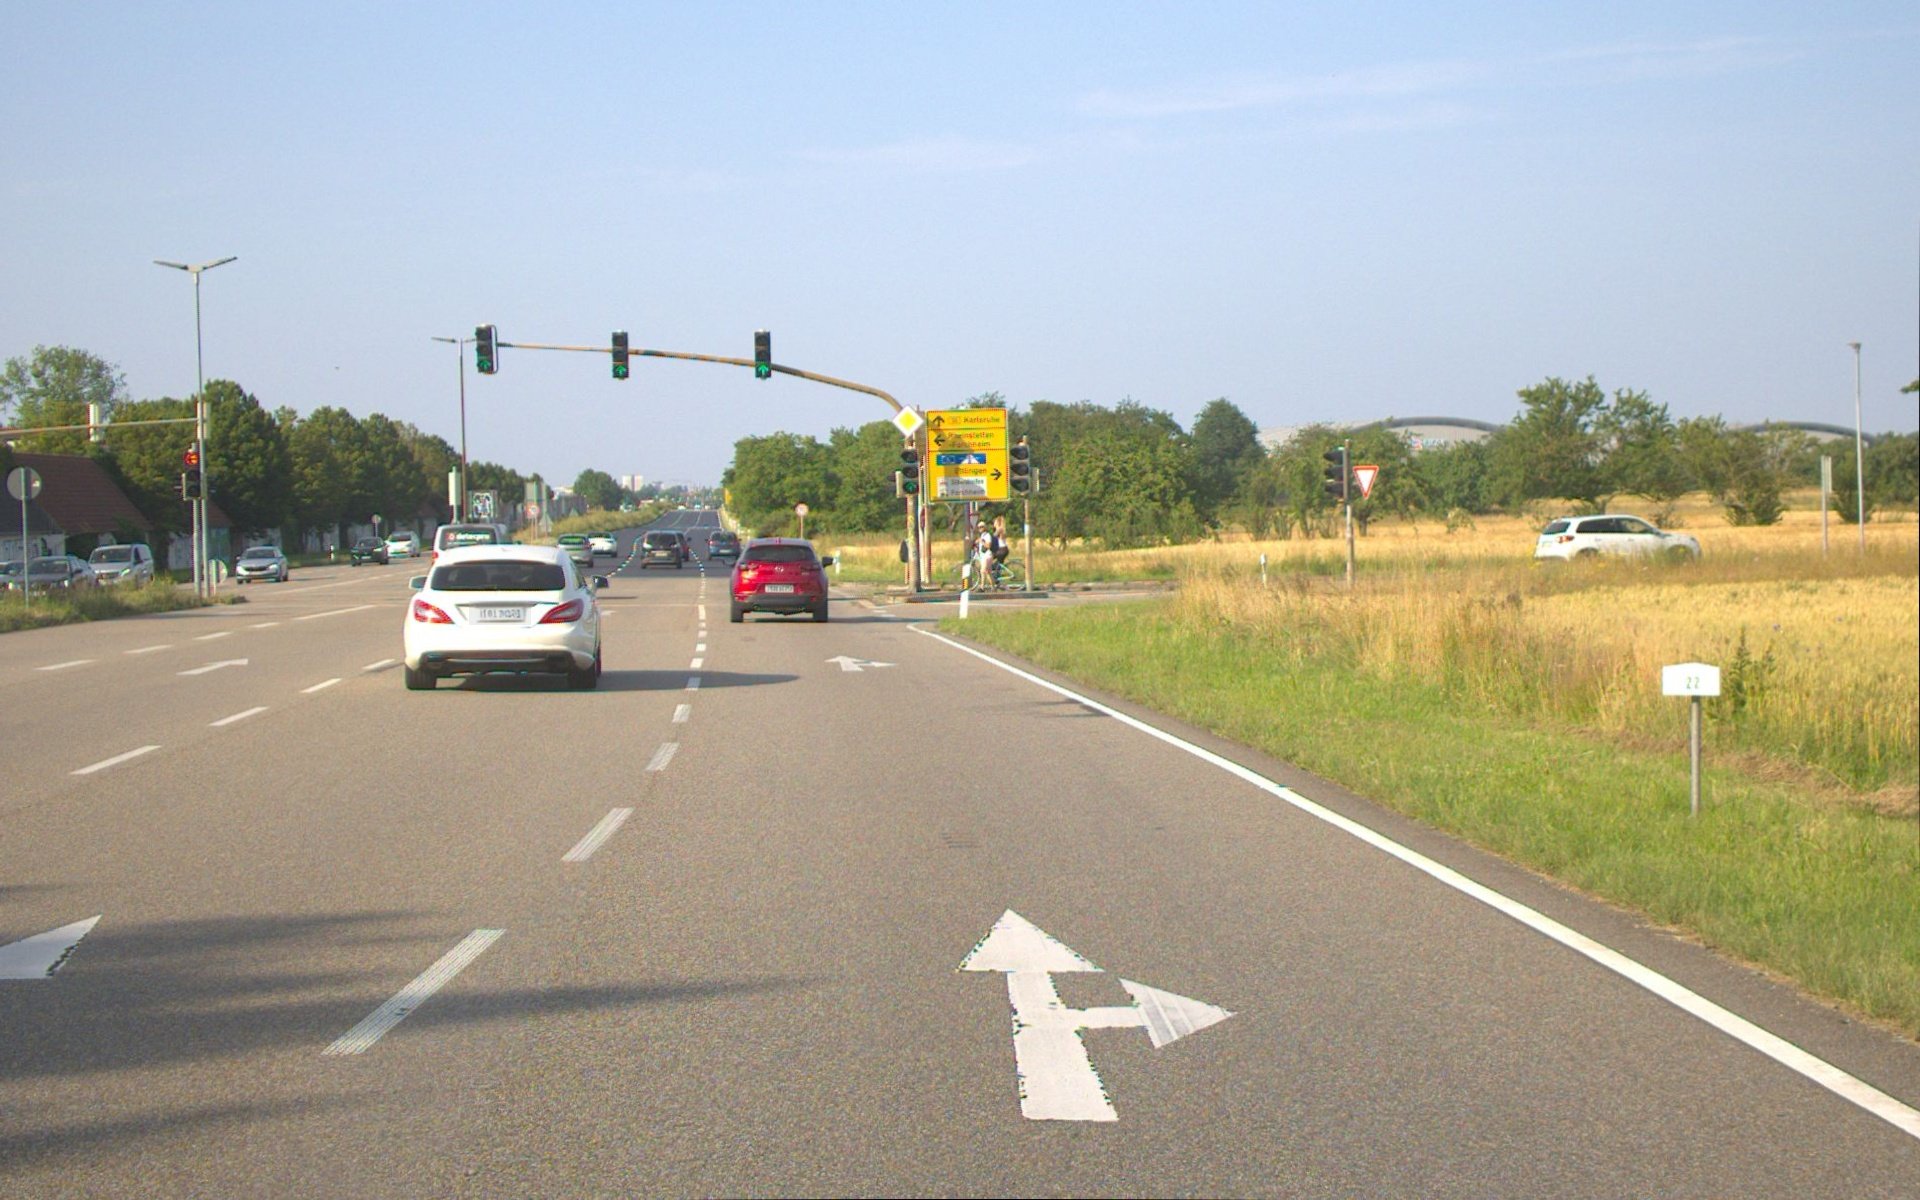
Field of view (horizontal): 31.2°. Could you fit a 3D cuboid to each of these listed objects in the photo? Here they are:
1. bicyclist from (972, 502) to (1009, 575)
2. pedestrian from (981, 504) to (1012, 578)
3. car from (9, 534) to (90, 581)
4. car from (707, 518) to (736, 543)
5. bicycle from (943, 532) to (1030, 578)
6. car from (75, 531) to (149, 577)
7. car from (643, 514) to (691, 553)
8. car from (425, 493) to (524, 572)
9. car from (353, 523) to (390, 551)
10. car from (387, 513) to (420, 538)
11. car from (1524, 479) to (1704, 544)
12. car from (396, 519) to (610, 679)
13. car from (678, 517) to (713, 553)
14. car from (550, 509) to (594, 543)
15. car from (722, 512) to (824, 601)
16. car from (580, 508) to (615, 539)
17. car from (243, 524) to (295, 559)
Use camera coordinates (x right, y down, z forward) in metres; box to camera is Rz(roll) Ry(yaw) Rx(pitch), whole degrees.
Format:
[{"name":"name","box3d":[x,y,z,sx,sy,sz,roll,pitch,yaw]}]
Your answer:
[{"name":"bicyclist","box3d":[0.735,-1.503,83.644,0.848,1.749,0.799,0,1,-2]},{"name":"pedestrian","box3d":[0.867,-1.412,81.816,0.710,1.745,0.863,0,1,-2]},{"name":"car","box3d":[-25.773,-1.208,97.379,1.684,1.282,3.148,0,1,-4]},{"name":"car","box3d":[-12.323,-3.582,177.744,1.439,1.279,2.915,0,1,-3]},{"name":"bicycle","box3d":[0.644,-1.097,83.668,2.096,1.085,0.808,0,1,0]},{"name":"car","box3d":[-31.955,-1.756,129.675,1.997,1.681,4.576,0,2,-4]},{"name":"car","box3d":[-12.706,-2.889,149.123,1.839,1.678,4.001,0,1,-1]},{"name":"car","box3d":[-12.055,-1.714,85.585,2.025,1.885,4.959,0,2,-3]},{"name":"car","box3d":[-33.022,-3.548,192.952,1.734,1.568,3.704,0,1,-4]},{"name":"car","box3d":[-35.407,-4.731,218.913,1.734,1.568,3.704,0,1,-4]},{"name":"car","box3d":[16.325,-2.209,85.846,3.986,1.592,1.861,0,1,-11]},{"name":"car","box3d":[-4.571,-0.060,34.875,1.894,1.503,4.001,-1,2,-4]},{"name":"car","box3d":[-13.145,-3.248,171.000,1.710,1.730,3.868,0,1,-4]},{"name":"car","box3d":[-17.296,-3.328,153.345,1.717,1.487,3.585,0,1,-3]},{"name":"car","box3d":[-3.402,-0.823,62.489,1.754,1.511,4.001,-1,2,-3]},{"name":"car","box3d":[-19.752,-4.179,187.187,1.775,1.660,3.664,0,1,-7]},{"name":"car","box3d":[-28.670,-2.437,142.682,1.783,1.432,4.358,0,2,-7]}]
